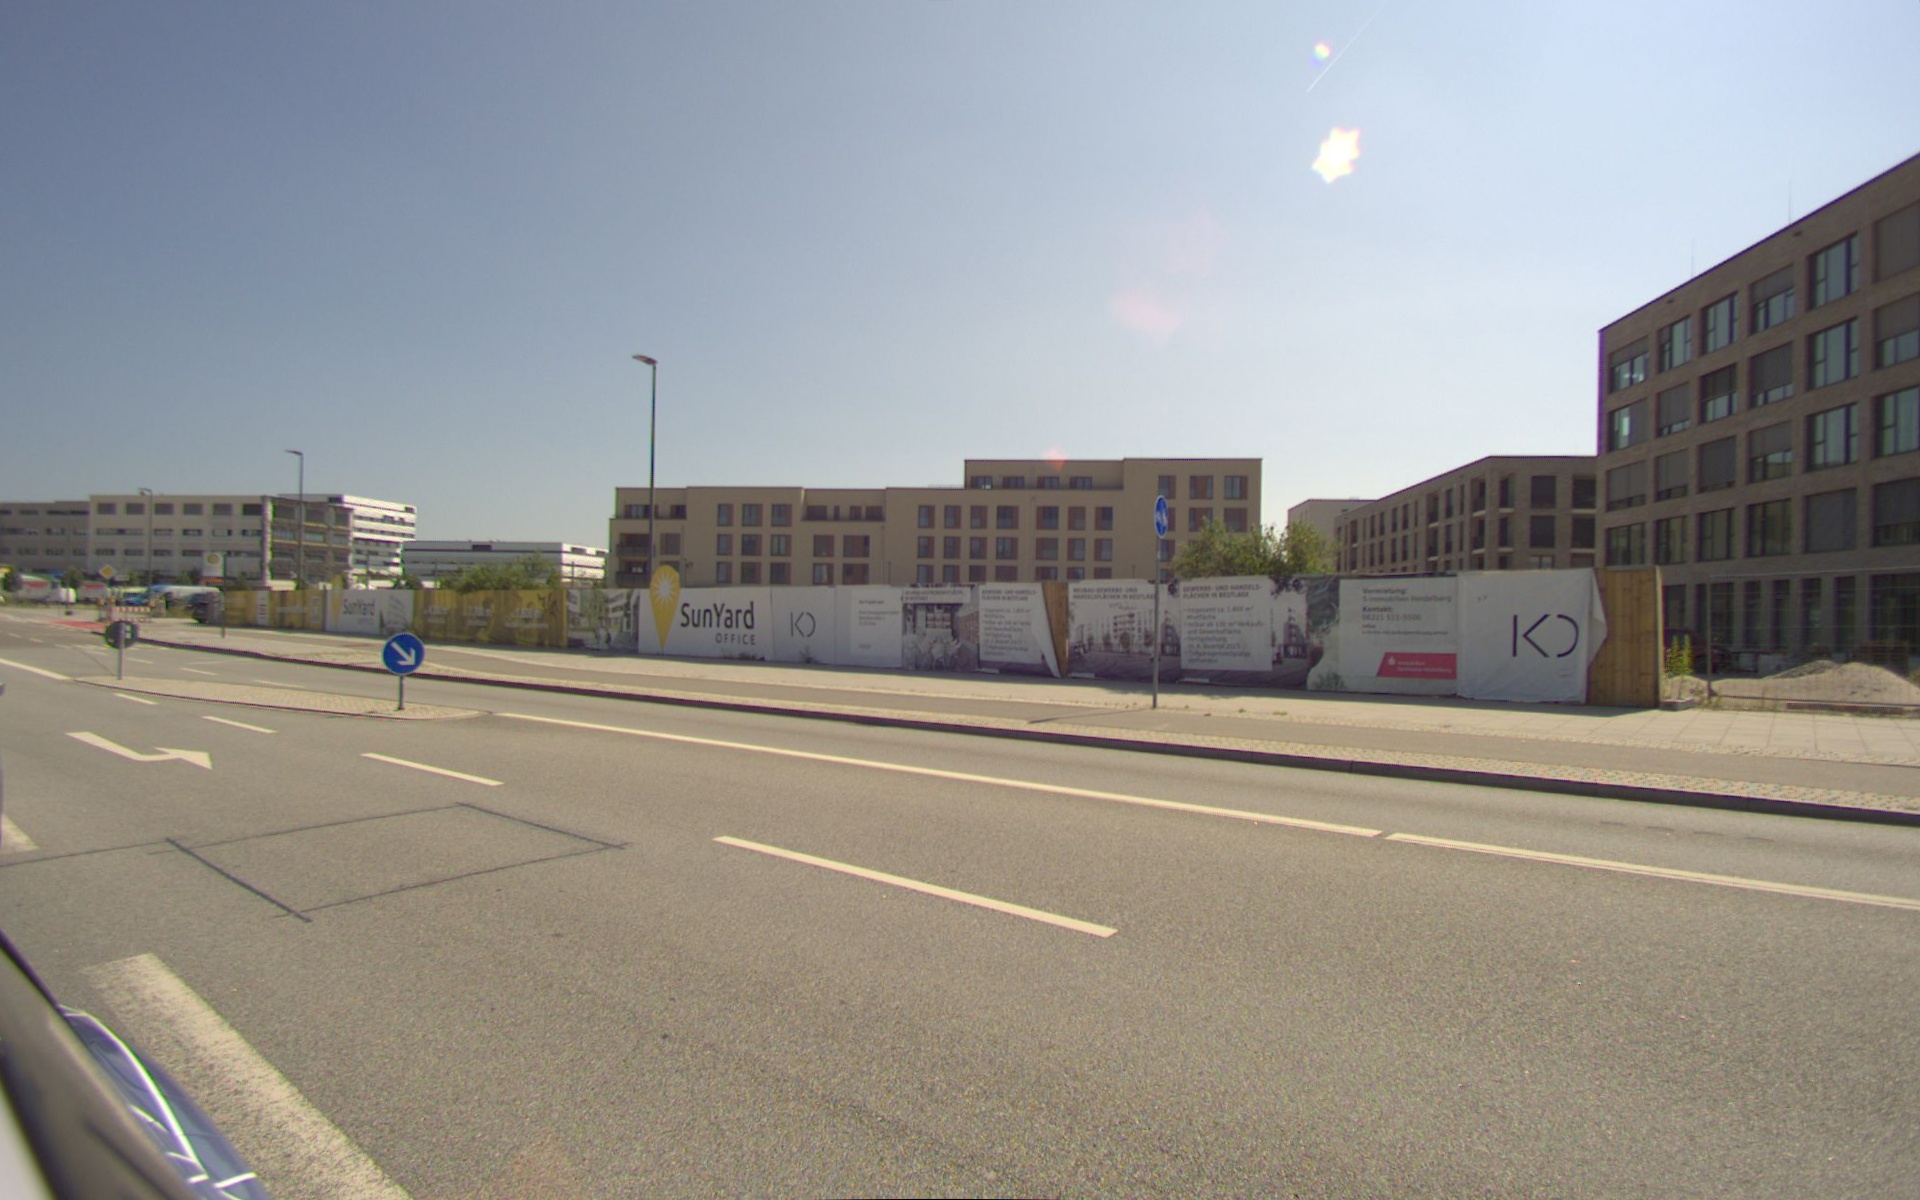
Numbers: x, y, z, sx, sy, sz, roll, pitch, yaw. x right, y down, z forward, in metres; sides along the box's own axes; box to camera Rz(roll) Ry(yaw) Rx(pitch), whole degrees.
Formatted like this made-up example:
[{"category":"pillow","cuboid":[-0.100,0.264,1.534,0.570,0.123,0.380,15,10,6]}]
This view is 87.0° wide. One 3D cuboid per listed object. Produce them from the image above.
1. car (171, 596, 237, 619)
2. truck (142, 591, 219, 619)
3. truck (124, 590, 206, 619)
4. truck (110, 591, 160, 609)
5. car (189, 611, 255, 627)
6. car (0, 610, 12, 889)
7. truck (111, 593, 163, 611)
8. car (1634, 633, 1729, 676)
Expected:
[{"category":"car","cuboid":[-60.338,0.584,80.811,1.888,1.731,3.885,0,1,35]},{"category":"truck","cuboid":[-67.151,0.404,87.296,1.998,2.245,4.942,0,1,39]},{"category":"truck","cuboid":[-72.538,0.364,92.472,1.996,2.494,5.567,0,1,36]},{"category":"truck","cuboid":[-120.277,-0.022,147.558,1.998,2.494,5.346,0,1,38]},{"category":"car","cuboid":[-48.257,1.230,66.223,1.293,0.960,3.315,0,1,43]},{"category":"car","cuboid":[-7.284,0.808,6.175,4.345,1.478,1.796,0,0,41]},{"category":"truck","cuboid":[-114.948,0.268,141.391,1.996,2.494,5.270,0,1,36]},{"category":"car","cuboid":[31.987,2.380,45.001,1.814,1.666,3.772,0,0,7]}]
